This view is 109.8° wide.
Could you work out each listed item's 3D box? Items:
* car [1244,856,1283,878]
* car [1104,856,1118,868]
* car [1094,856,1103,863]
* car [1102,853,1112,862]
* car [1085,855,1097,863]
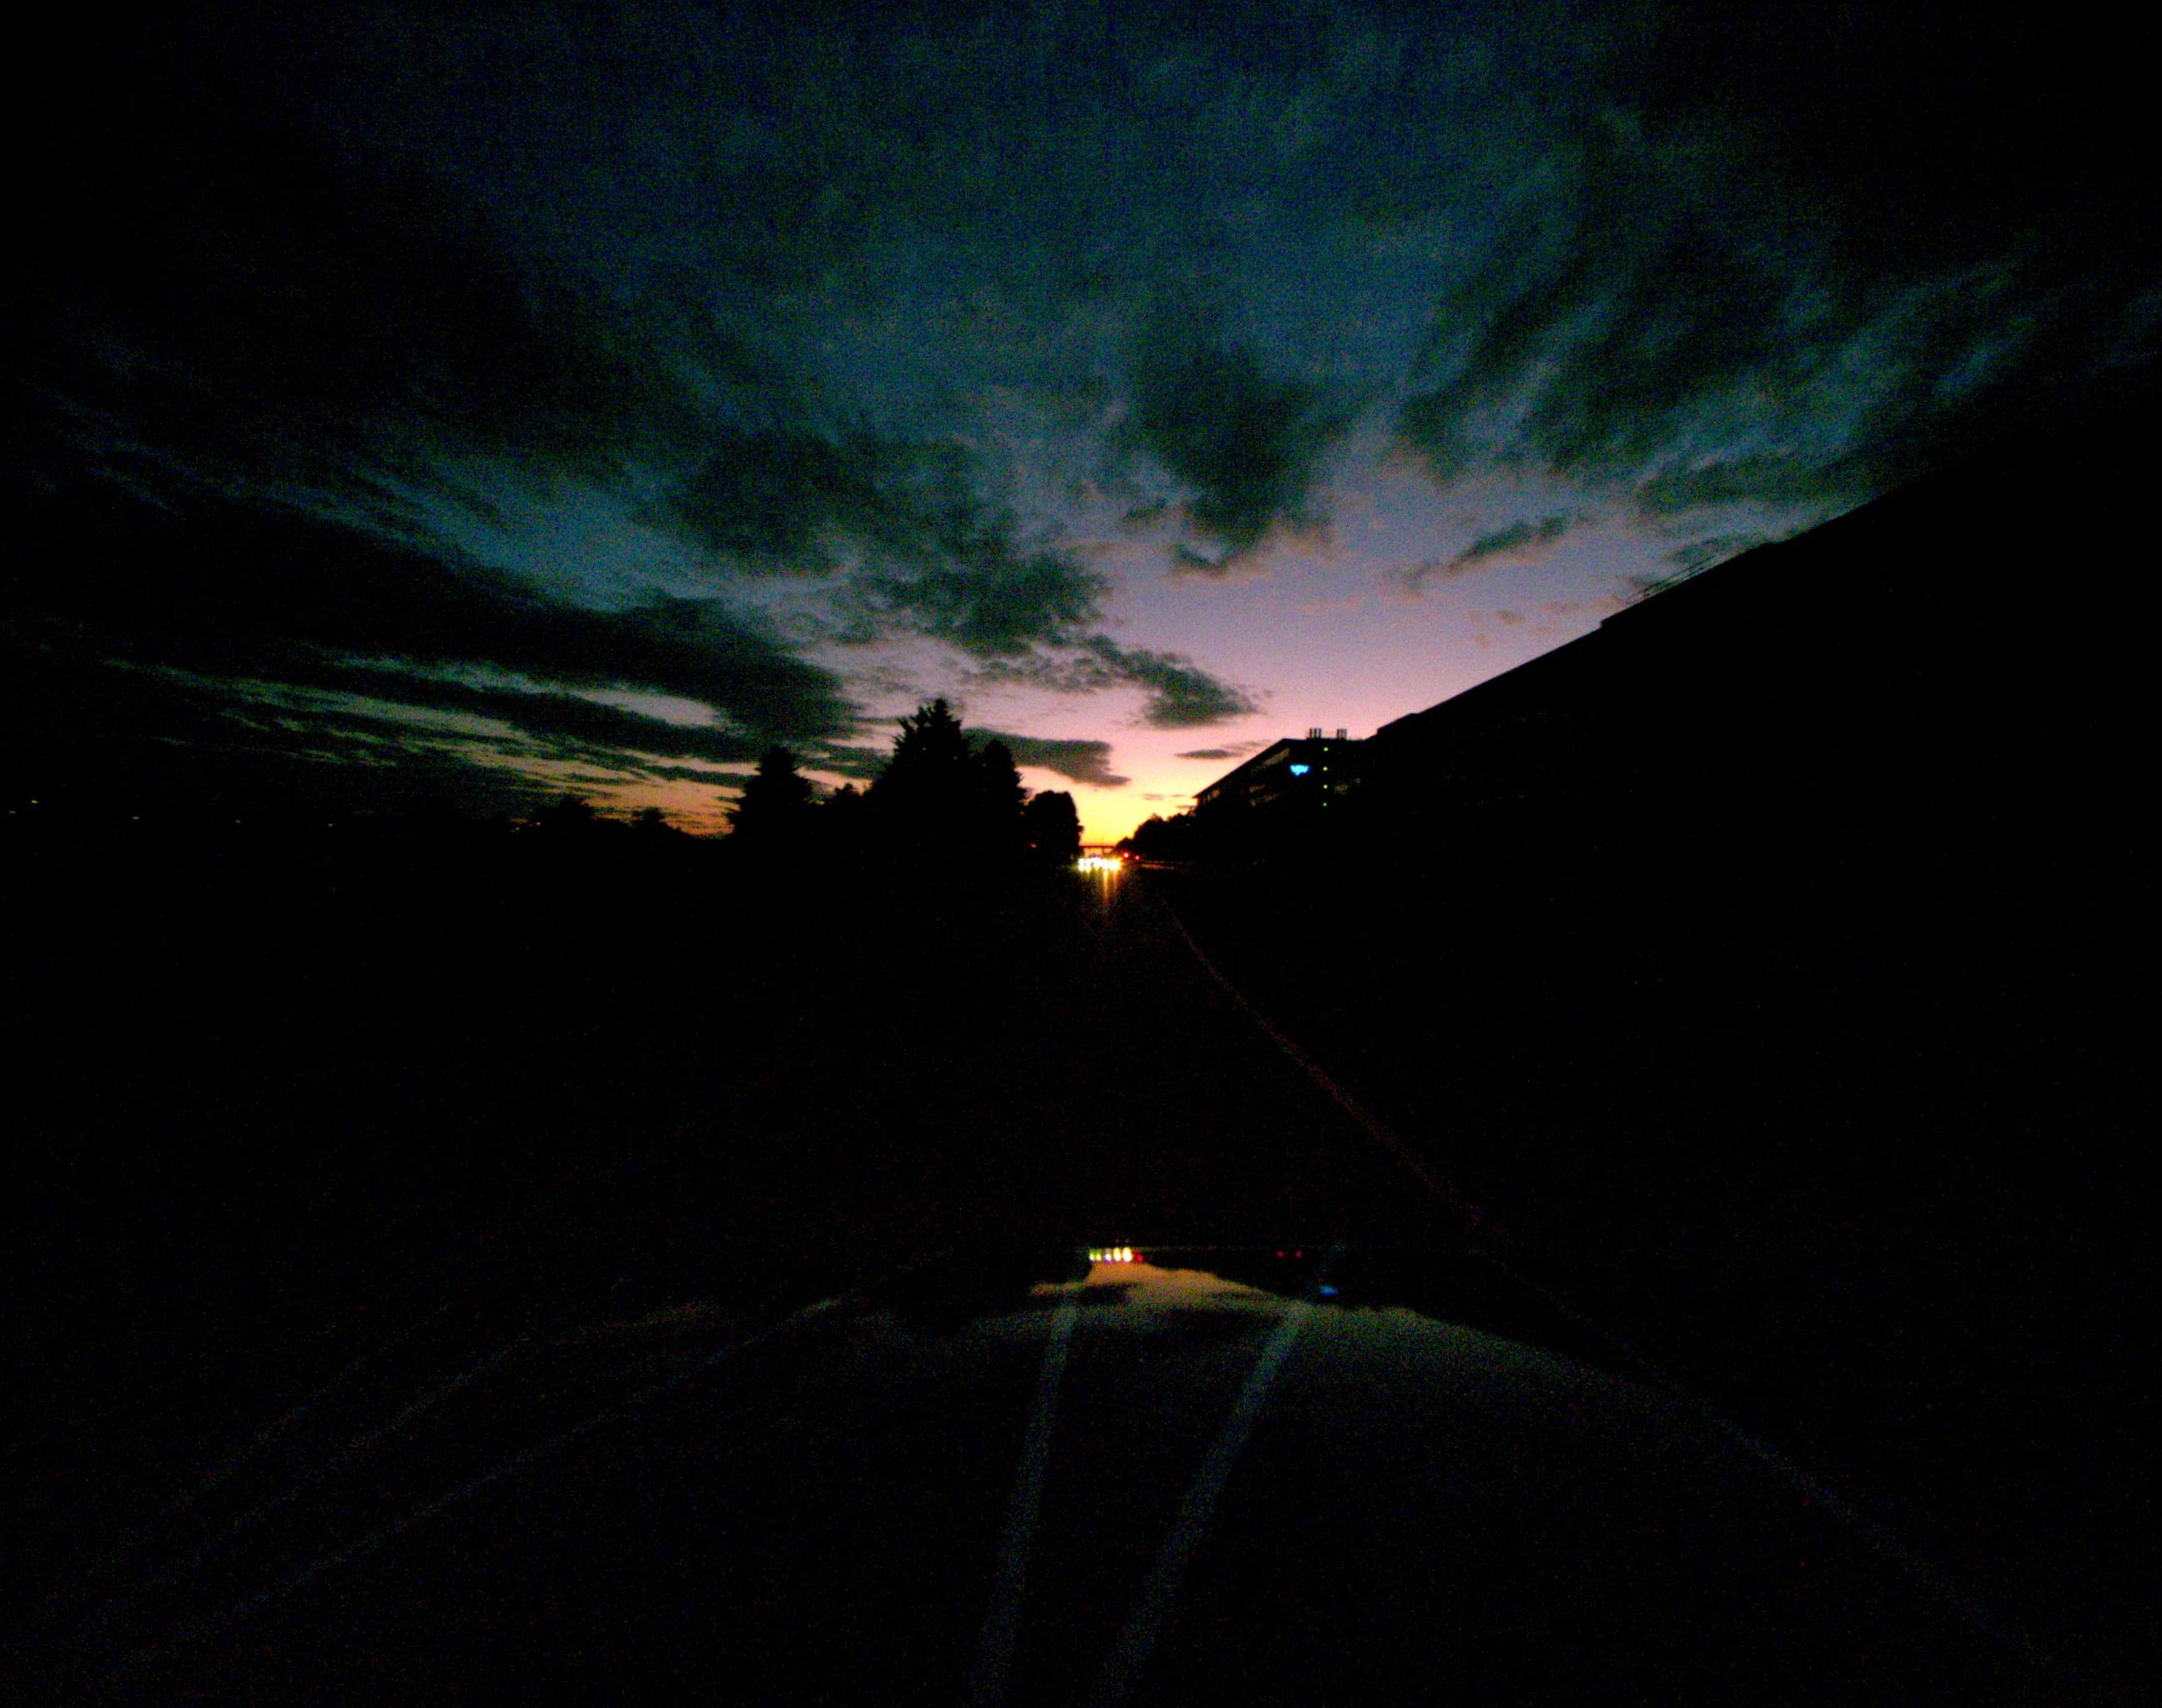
[{"bbox_3d":[13.764,0.962,57.589,1.774,1.631,4.660,1,0,0],"label":"car"},{"bbox_3d":[3.856,1.044,96.722,1.755,1.447,3.804,0,0,2],"label":"car"},{"bbox_3d":[4.409,1.394,190.989,1.832,1.739,3.851,-2,0,3],"label":"car"},{"bbox_3d":[5.938,0.734,173.808,1.861,2.002,4.002,-2,0,8],"label":"car"},{"bbox_3d":[2.054,1.018,159.398,1.997,1.574,4.003,-2,0,8],"label":"car"}]
